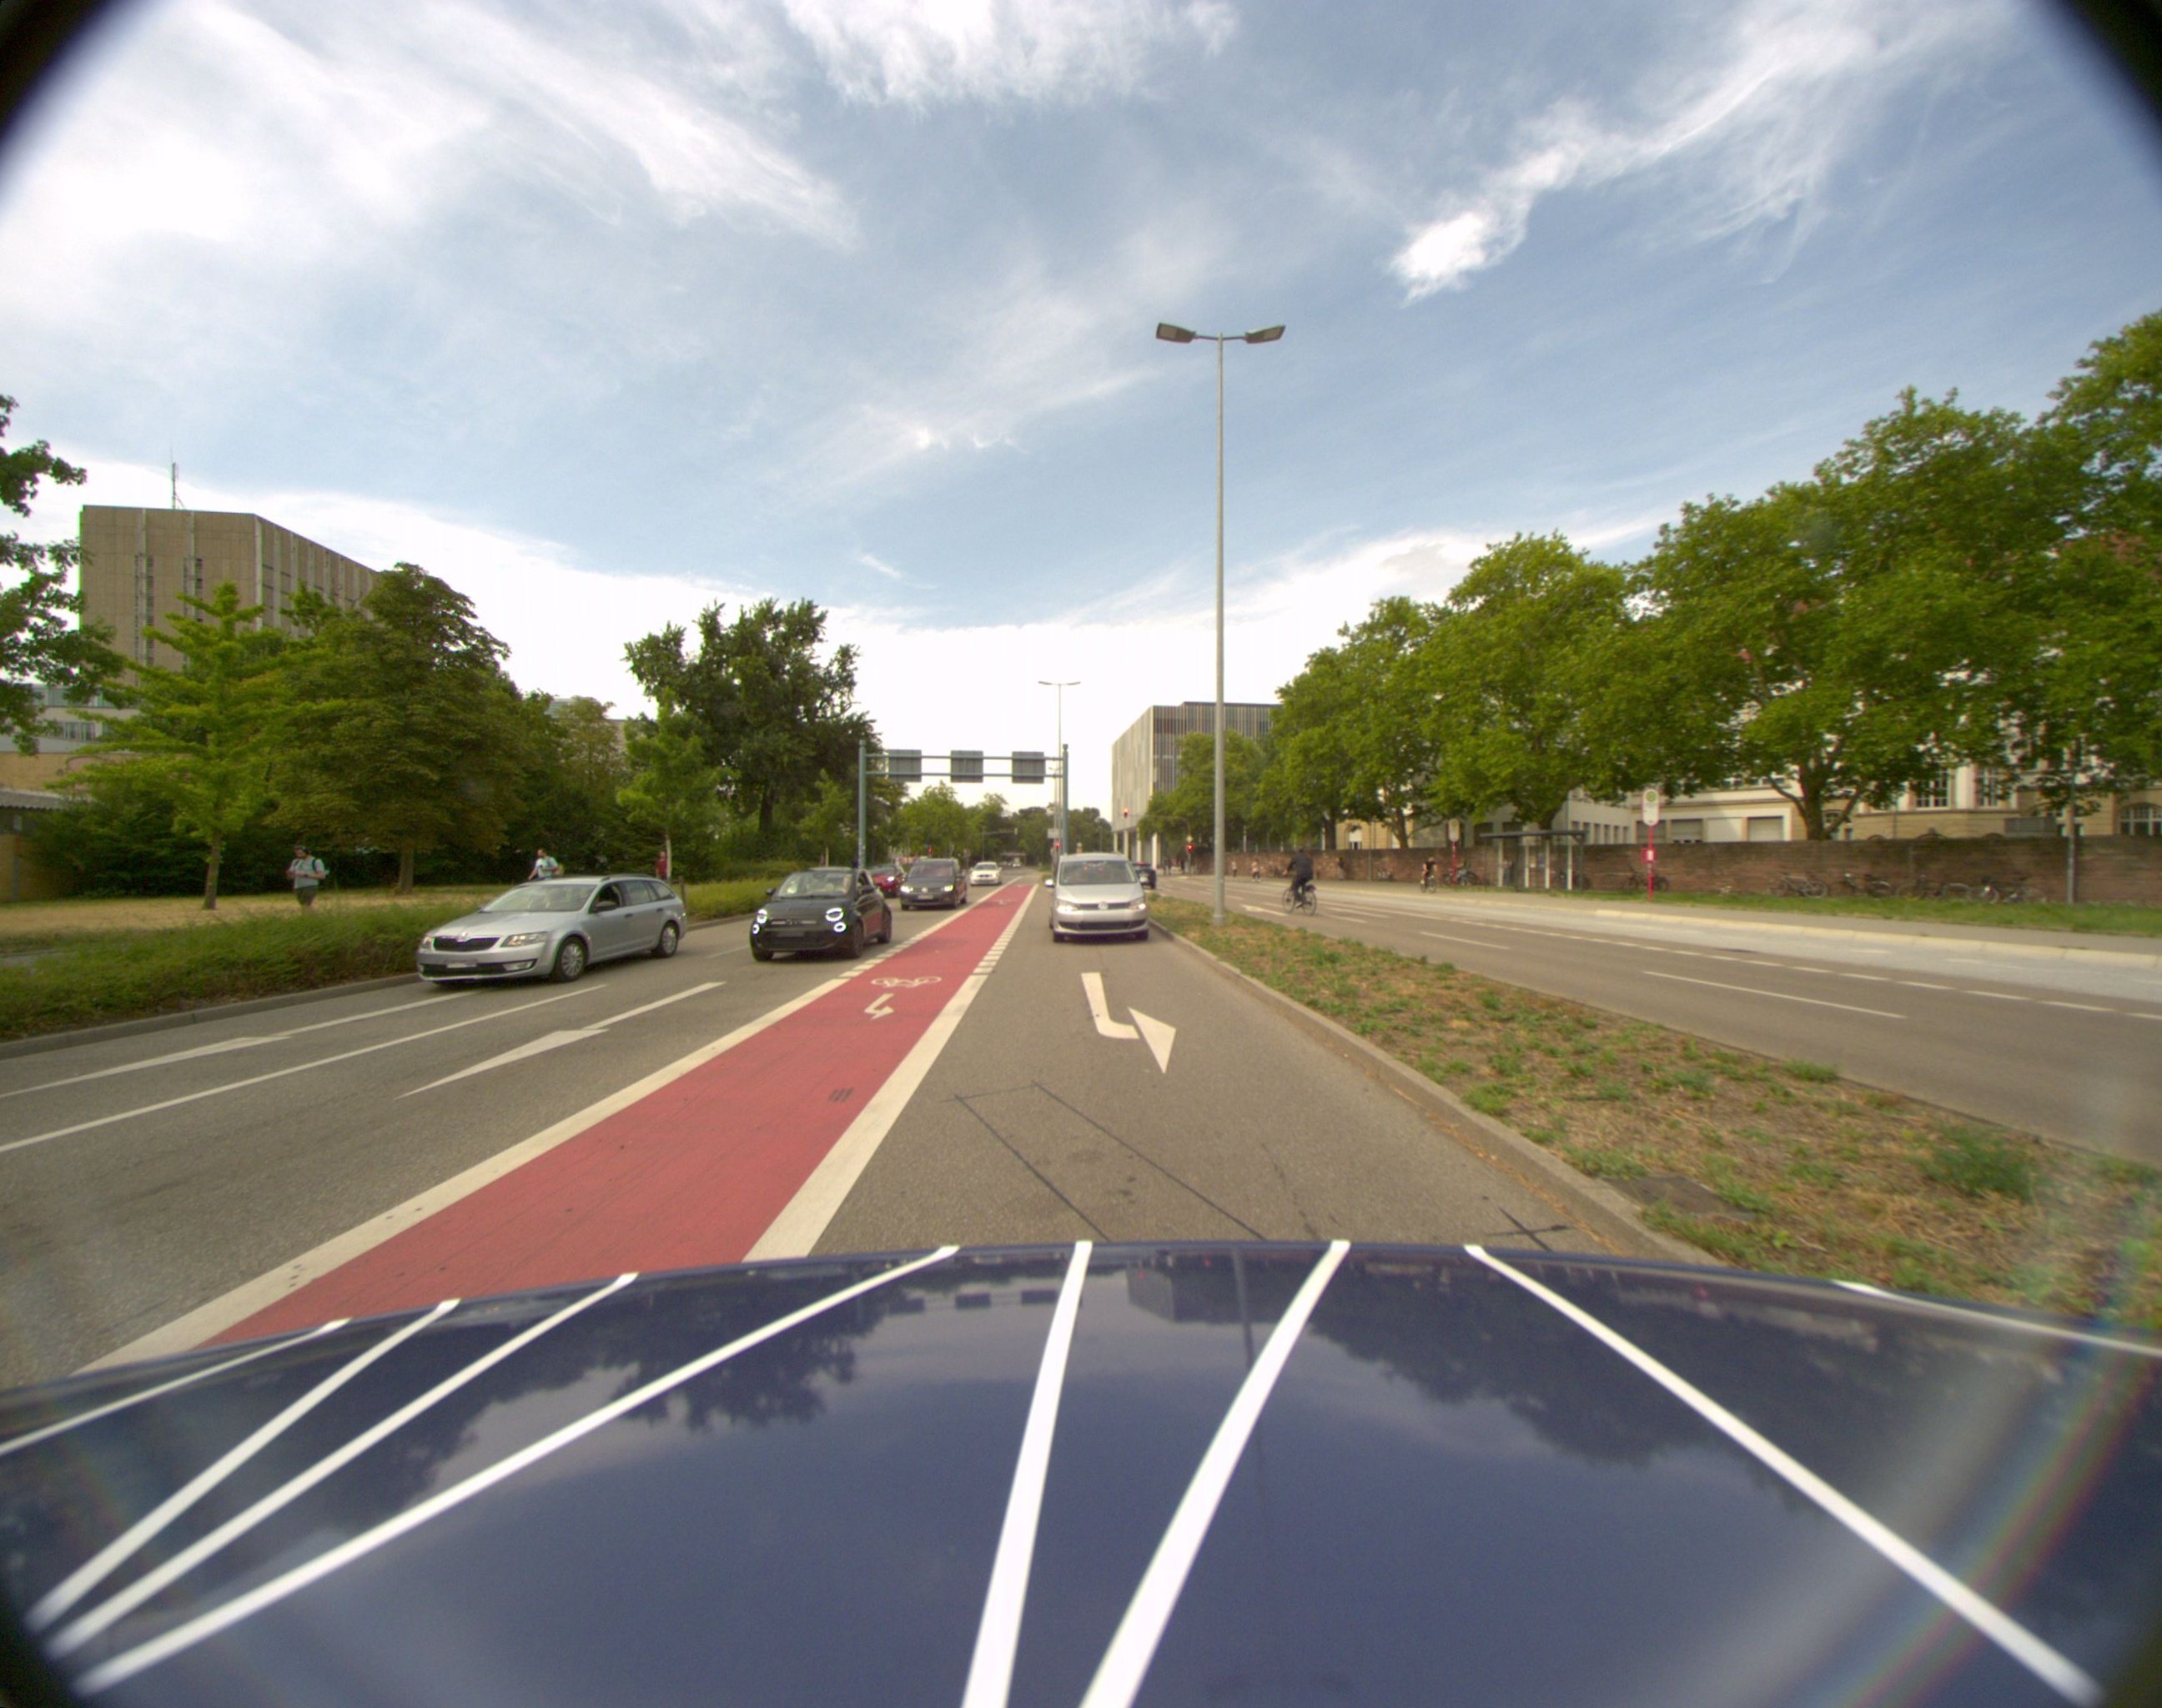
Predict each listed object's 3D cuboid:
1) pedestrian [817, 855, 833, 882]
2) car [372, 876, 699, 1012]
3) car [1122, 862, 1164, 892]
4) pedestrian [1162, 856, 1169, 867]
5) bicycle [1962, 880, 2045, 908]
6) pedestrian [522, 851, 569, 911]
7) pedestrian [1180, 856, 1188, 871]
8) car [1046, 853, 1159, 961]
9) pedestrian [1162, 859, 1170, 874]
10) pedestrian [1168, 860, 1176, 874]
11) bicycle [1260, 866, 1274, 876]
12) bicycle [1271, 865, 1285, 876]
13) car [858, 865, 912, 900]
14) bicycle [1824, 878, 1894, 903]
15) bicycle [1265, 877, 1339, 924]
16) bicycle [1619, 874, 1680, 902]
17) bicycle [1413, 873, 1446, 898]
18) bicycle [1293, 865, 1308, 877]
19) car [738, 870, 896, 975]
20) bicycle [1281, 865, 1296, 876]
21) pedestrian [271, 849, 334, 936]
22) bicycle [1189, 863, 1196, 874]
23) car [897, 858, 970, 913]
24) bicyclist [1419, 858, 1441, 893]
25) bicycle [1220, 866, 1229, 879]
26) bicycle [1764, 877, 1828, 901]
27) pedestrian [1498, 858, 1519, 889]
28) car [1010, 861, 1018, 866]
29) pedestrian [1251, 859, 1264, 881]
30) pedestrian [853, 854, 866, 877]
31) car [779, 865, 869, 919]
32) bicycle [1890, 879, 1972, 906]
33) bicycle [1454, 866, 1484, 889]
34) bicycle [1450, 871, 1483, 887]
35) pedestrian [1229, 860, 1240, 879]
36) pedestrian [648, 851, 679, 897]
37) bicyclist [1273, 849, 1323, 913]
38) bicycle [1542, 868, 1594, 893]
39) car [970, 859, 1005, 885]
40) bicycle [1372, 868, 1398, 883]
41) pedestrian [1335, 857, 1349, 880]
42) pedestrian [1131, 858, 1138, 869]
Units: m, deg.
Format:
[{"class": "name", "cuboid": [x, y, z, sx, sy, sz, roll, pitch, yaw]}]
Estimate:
[{"class": "pedestrian", "cuboid": [-16.252, 0.908, 48.274, 0.714, 1.701, 0.695, -2, 1, -2]}, {"class": "car", "cuboid": [-7.871, 1.182, 11.649, 1.824, 1.465, 4.527, -2, 0, -2]}, {"class": "car", "cuboid": [3.399, 1.234, 42.433, 1.789, 1.481, 4.129, 2, 0, -2]}, {"class": "pedestrian", "cuboid": [12.128, 1.051, 108.936, 0.755, 1.612, 0.665, -2, 1, -8]}, {"class": "bicycle", "cuboid": [30.578, 1.304, 25.216, 0.359, 0.859, 1.705, 2, -1, -28]}, {"class": "pedestrian", "cuboid": [-15.717, 0.774, 22.328, 0.842, 1.701, 0.694, -2, 1, -6]}, {"class": "pedestrian", "cuboid": [11.619, 1.041, 85.579, 0.755, 1.612, 0.665, -2, 1, -8]}, {"class": "car", "cuboid": [0.396, 0.885, 14.891, 1.824, 1.724, 4.528, -2, 0, 1]}, {"class": "pedestrian", "cuboid": [9.604, 1.415, 85.868, 0.755, 1.612, 0.665, -2, 1, -8]}, {"class": "pedestrian", "cuboid": [10.316, 1.483, 86.351, 0.755, 1.612, 0.665, -2, 1, -8]}, {"class": "bicycle", "cuboid": [15.987, 1.446, 65.263, 0.433, 0.882, 1.574, -3, 0, -13]}, {"class": "bicycle", "cuboid": [16.423, 1.350, 63.420, 0.433, 0.882, 1.574, -3, 0, -13]}, {"class": "car", "cuboid": [-8.721, 1.232, 34.056, 1.671, 1.407, 3.456, -2, 0, -4]}, {"class": "bicycle", "cuboid": [28.843, 1.341, 28.190, 0.359, 0.859, 1.806, 2, -1, -23]}, {"class": "bicycle", "cuboid": [6.091, 1.262, 21.093, 0.760, 1.182, 2.094, 2, -1, -24]}, {"class": "bicycle", "cuboid": [25.690, 1.505, 34.358, 0.760, 1.182, 2.094, 2, -1, -24]}, {"class": "bicycle", "cuboid": [15.559, 1.394, 34.004, 0.506, 0.930, 1.970, -1, 2, -2]}, {"class": "bicycle", "cuboid": [17.215, 1.347, 59.642, 0.433, 0.882, 1.574, -3, 0, -13]}, {"class": "car", "cuboid": [-4.474, 1.092, 13.413, 1.670, 1.481, 3.440, -1, 0, -2]}, {"class": "bicycle", "cuboid": [16.900, 1.345, 61.792, 0.433, 0.882, 1.574, -3, 0, -13]}, {"class": "pedestrian", "cuboid": [-15.497, 0.755, 15.140, 0.544, 1.686, 0.694, 2, 1, -6]}, {"class": "bicycle", "cuboid": [12.671, 1.600, 86.340, 0.513, 1.202, 1.395, -2, 1, -2]}, {"class": "car", "cuboid": [-5.044, 1.020, 26.532, 1.759, 1.641, 4.684, -2, 0, -2]}, {"class": "bicyclist", "cuboid": [15.551, 0.952, 33.902, 0.579, 1.547, 0.797, -1, 2, -2]}, {"class": "bicycle", "cuboid": [14.178, 1.796, 75.116, 0.513, 1.202, 1.395, -2, 1, -2]}, {"class": "bicycle", "cuboid": [28.088, 1.354, 29.870, 0.359, 0.859, 1.819, 2, -1, -25]}, {"class": "pedestrian", "cuboid": [23.002, 1.037, 40.890, 0.569, 1.612, 0.753, -2, 1, -24]}, {"class": "car", "cuboid": [-22.032, 3.242, 249.991, 1.998, 1.565, 4.000, -2, 0, 1]}, {"class": "pedestrian", "cuboid": [13.610, 1.230, 58.469, 0.755, 1.612, 0.665, -2, 1, -8]}, {"class": "pedestrian", "cuboid": [-16.746, 0.854, 57.387, 0.714, 1.701, 0.695, -2, 1, -2]}, {"class": "car", "cuboid": [-8.112, 1.154, 24.336, 1.670, 1.481, 3.874, -2, 0, -2]}, {"class": "bicycle", "cuboid": [29.538, 1.330, 26.445, 0.359, 0.859, 1.887, 2, -1, -21]}, {"class": "bicycle", "cuboid": [21.433, 1.296, 41.967, 2.103, 1.182, 0.756, 3, -1, -42]}, {"class": "bicycle", "cuboid": [22.070, 1.428, 43.519, 0.662, 0.882, 1.573, -3, 0, -22]}, {"class": "pedestrian", "cuboid": [13.152, 1.312, 65.175, 0.755, 1.612, 0.665, -2, 1, -8]}, {"class": "pedestrian", "cuboid": [-15.689, 0.749, 28.572, 0.714, 1.701, 0.695, -2, 1, -2]}, {"class": "bicyclist", "cuboid": [6.002, 0.740, 21.082, 0.779, 1.700, 1.083, 2, -1, -24]}, {"class": "bicycle", "cuboid": [24.280, 1.329, 37.911, 0.760, 1.182, 2.094, 2, -1, -24]}, {"class": "car", "cuboid": [-5.700, 1.061, 46.786, 1.759, 1.449, 4.222, -2, 0, -2]}, {"class": "bicycle", "cuboid": [19.931, 1.397, 49.788, 0.662, 0.882, 1.573, -3, 0, -22]}, {"class": "pedestrian", "cuboid": [18.566, 1.012, 54.012, 0.756, 1.612, 0.664, -3, 1, -43]}, {"class": "pedestrian", "cuboid": [7.798, 1.402, 110.587, 0.755, 1.612, 0.665, -2, 1, -8]}]
